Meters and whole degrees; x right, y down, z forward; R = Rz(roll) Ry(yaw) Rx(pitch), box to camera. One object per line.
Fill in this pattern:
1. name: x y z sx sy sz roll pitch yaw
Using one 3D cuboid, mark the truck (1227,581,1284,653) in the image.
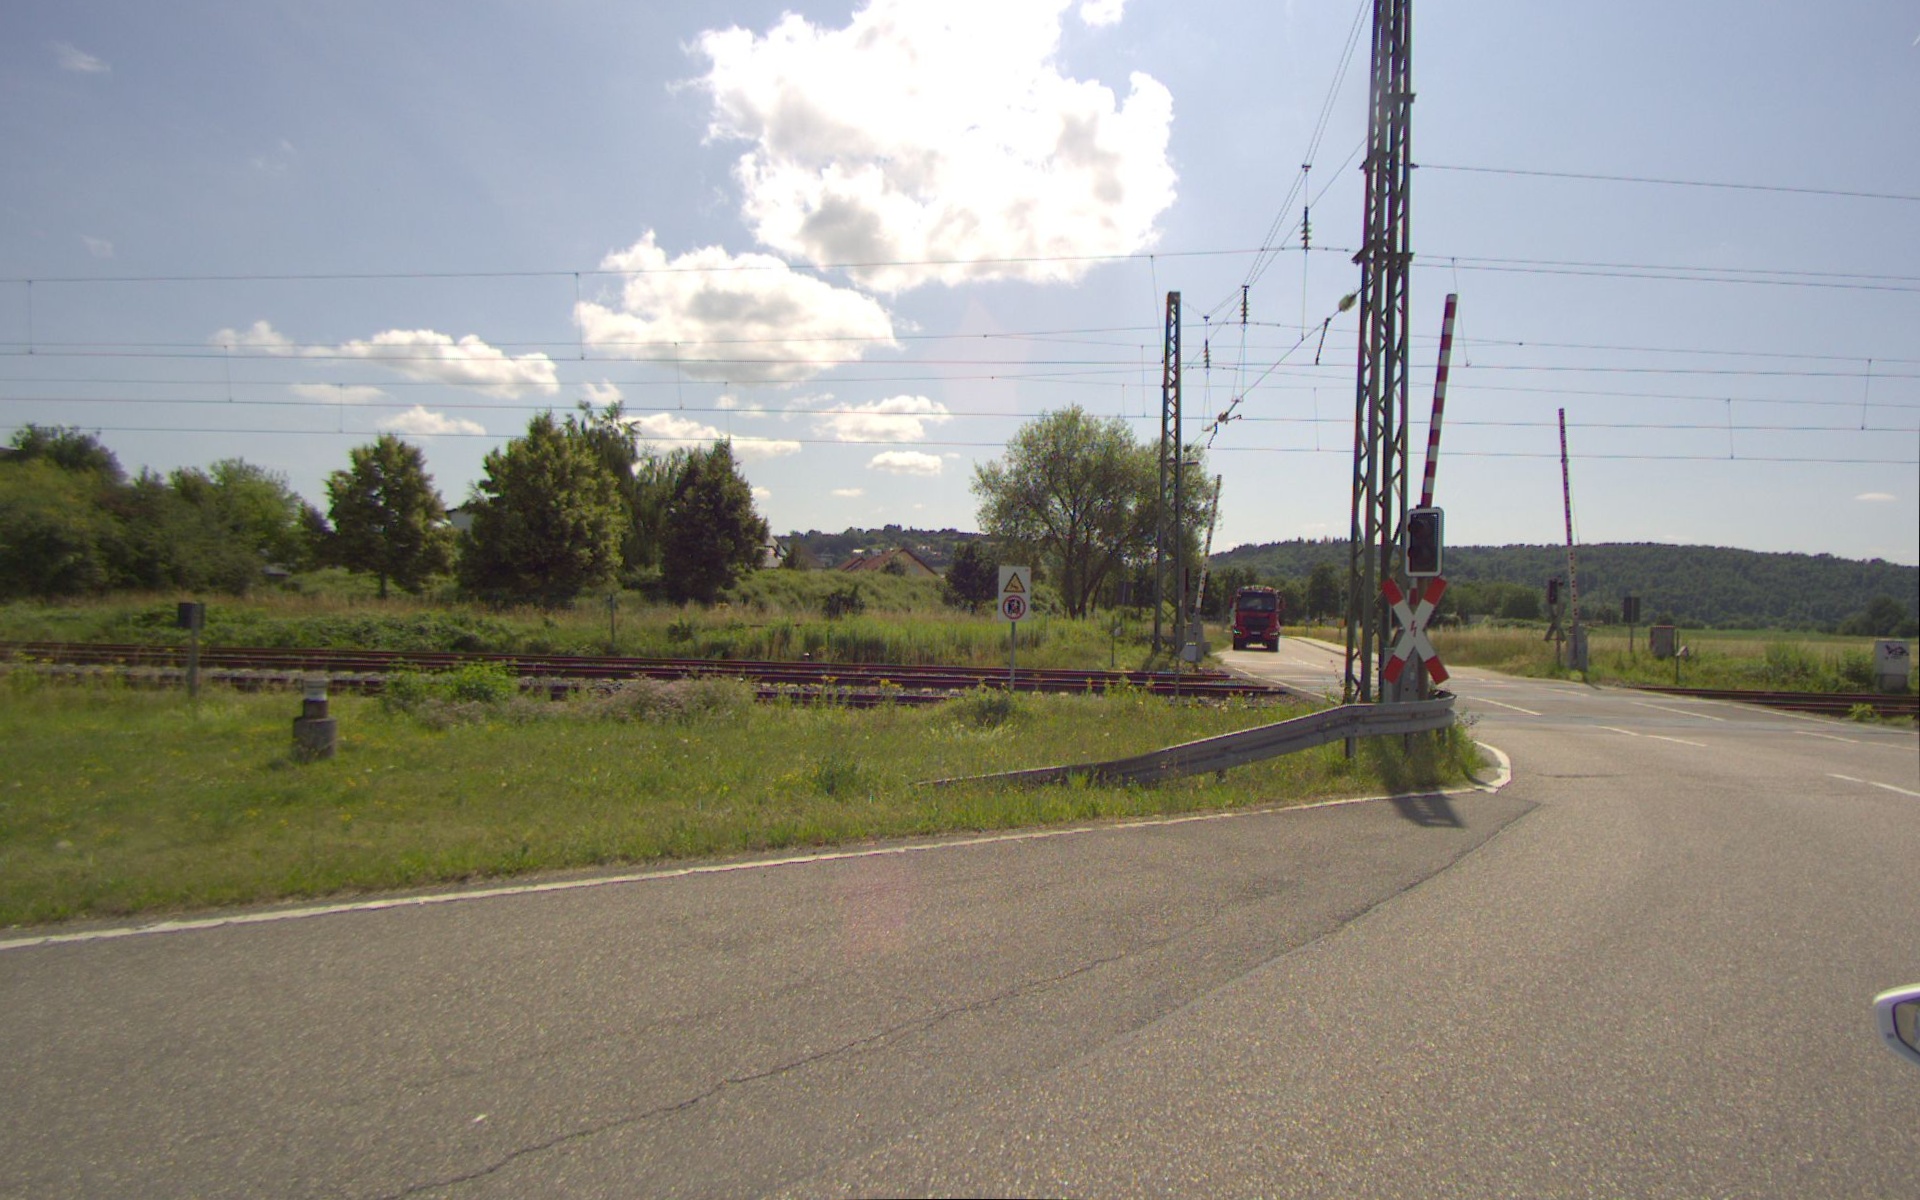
1. truck: 17.761 1.043 60.269 2.823 3.795 12.153 2 -1 17
